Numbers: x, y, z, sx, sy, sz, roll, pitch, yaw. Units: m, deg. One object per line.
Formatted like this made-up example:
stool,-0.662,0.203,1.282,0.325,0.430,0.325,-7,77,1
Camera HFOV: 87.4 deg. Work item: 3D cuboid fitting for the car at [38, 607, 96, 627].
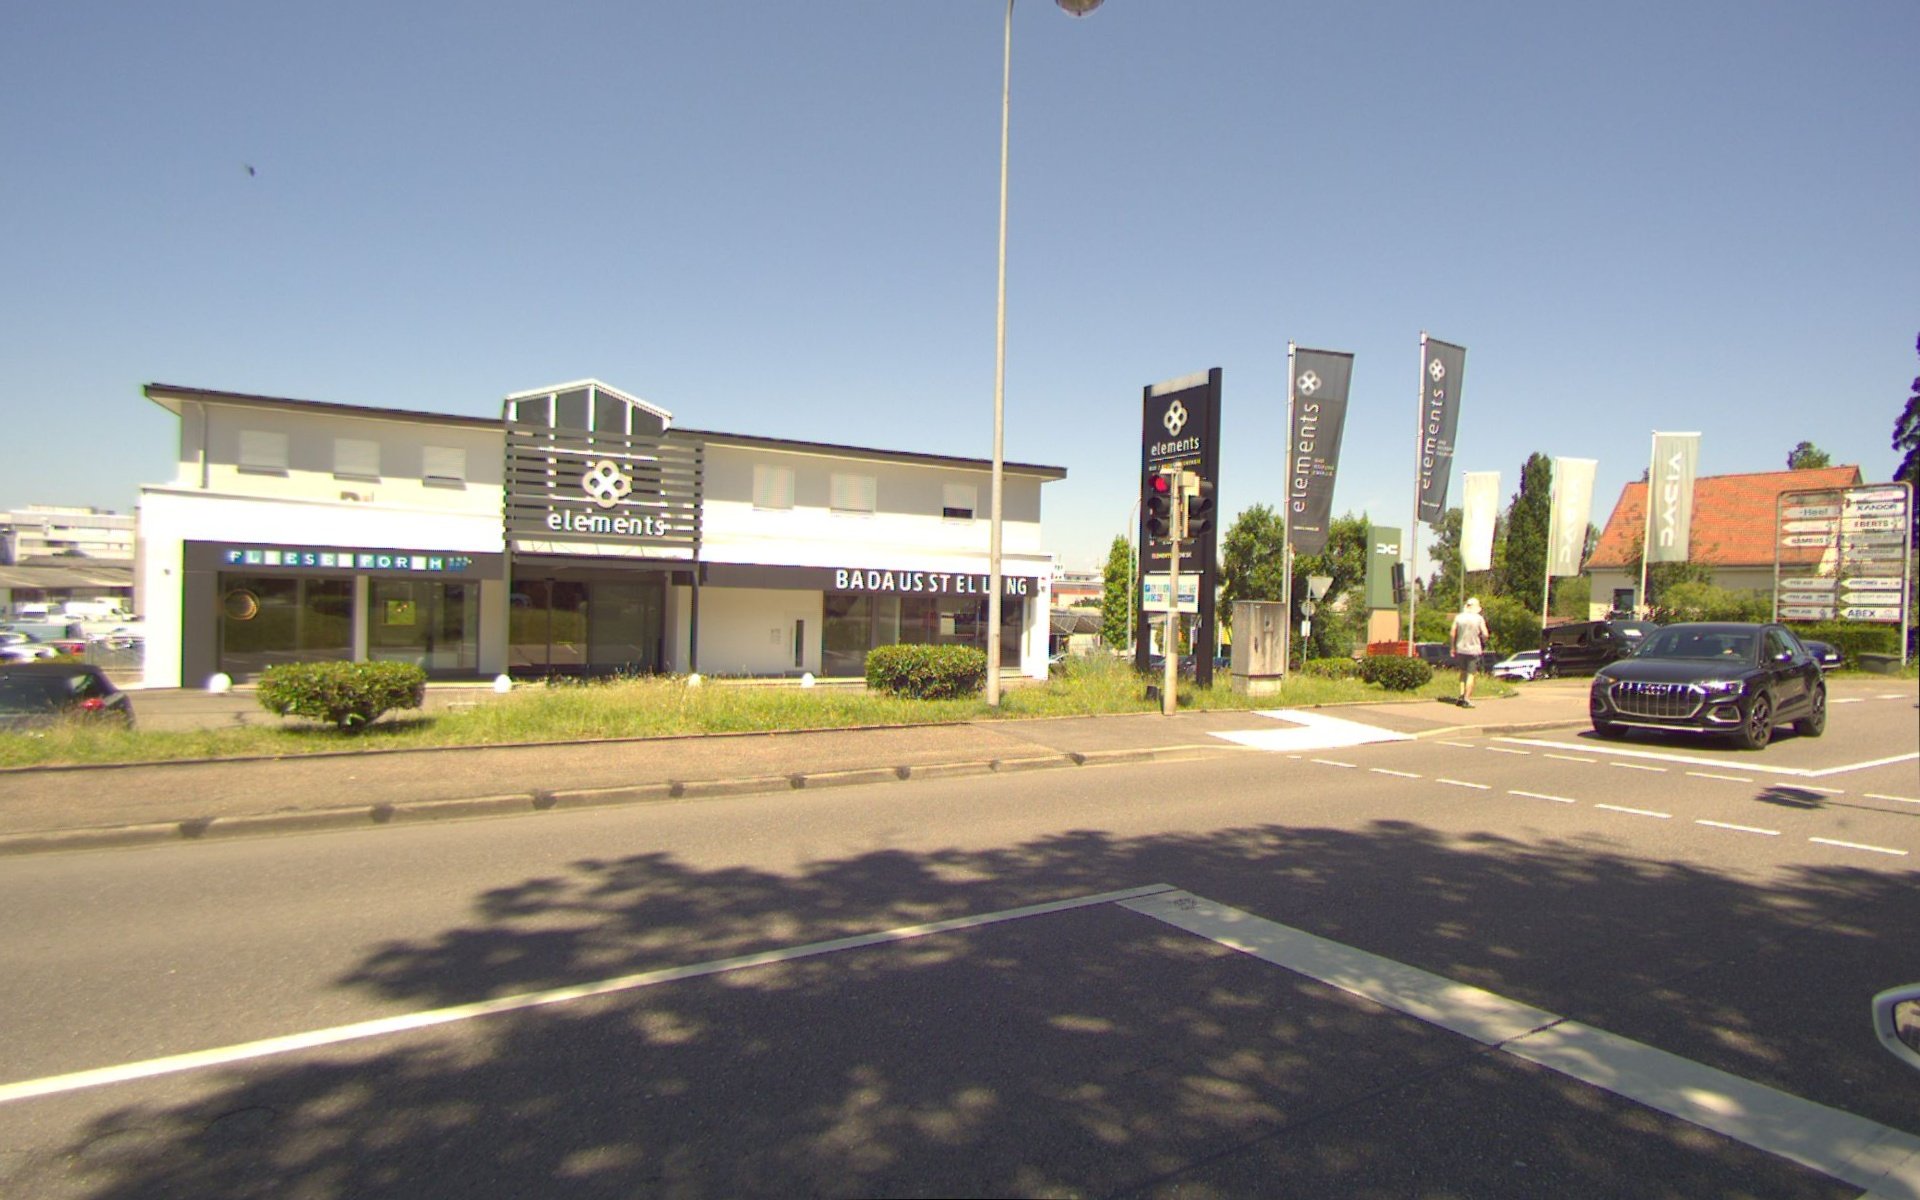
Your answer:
car,-83.788,1.584,94.339,3.725,1.778,1.719,1,0,-28

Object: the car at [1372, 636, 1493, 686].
car,18.181,2.353,38.685,4.022,1.745,1.808,2,0,-16

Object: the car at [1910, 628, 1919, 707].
car,20.665,1.351,19.918,4.011,1.527,1.857,2,-1,-34

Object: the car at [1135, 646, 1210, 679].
car,10.653,3.094,50.218,3.973,1.506,1.735,2,-1,-44

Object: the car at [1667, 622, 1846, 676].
car,24.959,1.490,31.649,1.751,1.524,4.129,1,-1,-20

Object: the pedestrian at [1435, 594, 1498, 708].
pedestrian,8.123,0.806,16.122,0.689,1.785,0.545,1,0,-4

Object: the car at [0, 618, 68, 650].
car,-53.450,1.943,57.096,3.726,1.778,1.719,2,-1,-28

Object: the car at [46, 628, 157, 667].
car,-41.236,2.272,48.368,3.726,1.778,1.719,2,-1,-28

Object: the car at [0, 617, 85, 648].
car,-54.835,1.918,59.832,3.726,1.778,1.719,2,-1,-28

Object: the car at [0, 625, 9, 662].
car,-49.207,2.124,48.965,3.726,1.778,1.719,2,-1,-28

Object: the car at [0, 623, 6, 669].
car,-44.576,2.013,43.728,3.950,2.040,1.986,2,-1,-28

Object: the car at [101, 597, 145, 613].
car,-99.512,0.636,119.481,3.726,1.778,1.719,2,-1,-28

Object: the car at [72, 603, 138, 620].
car,-95.701,1.324,112.468,5.236,1.778,2.051,2,-1,-28

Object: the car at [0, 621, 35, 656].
car,-51.426,2.016,52.788,3.726,1.778,1.719,2,-1,-28

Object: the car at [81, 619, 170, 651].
car,-49.411,2.080,59.578,3.726,1.778,1.719,2,-1,-28

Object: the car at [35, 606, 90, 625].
car,-88.196,1.517,98.765,3.726,1.778,1.719,1,0,-28

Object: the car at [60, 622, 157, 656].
car,-46.753,2.140,55.228,3.726,1.778,1.719,2,-1,-28

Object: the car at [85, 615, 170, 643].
car,-55.205,1.936,66.703,4.004,1.778,1.719,2,-1,-28

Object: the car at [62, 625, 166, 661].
car,-43.509,2.221,51.757,3.726,1.778,1.719,2,-1,-28

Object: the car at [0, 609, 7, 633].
car,-74.809,1.584,75.835,3.726,1.778,1.719,2,0,-28

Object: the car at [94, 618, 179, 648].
car,-50.801,2.054,62.023,3.726,1.778,1.719,2,-1,-28

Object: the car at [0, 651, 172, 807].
car,-11.747,1.508,12.767,1.746,1.553,4.076,1,-1,-24

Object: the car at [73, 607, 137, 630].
car,-71.029,1.523,83.502,3.726,1.778,1.719,2,0,-28

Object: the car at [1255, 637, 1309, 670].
car,18.852,3.077,58.731,1.785,1.744,4.075,1,0,36

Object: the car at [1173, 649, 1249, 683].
car,11.976,3.108,47.869,3.839,1.434,1.633,2,-1,-42

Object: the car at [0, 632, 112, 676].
car,-39.258,2.310,43.372,3.726,1.778,1.719,2,-1,-28

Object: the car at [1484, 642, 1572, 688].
car,23.901,2.684,42.218,4.053,1.744,1.795,2,0,-38

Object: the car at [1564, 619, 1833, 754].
car,10.442,1.103,14.103,4.263,1.576,1.912,2,-1,-37
